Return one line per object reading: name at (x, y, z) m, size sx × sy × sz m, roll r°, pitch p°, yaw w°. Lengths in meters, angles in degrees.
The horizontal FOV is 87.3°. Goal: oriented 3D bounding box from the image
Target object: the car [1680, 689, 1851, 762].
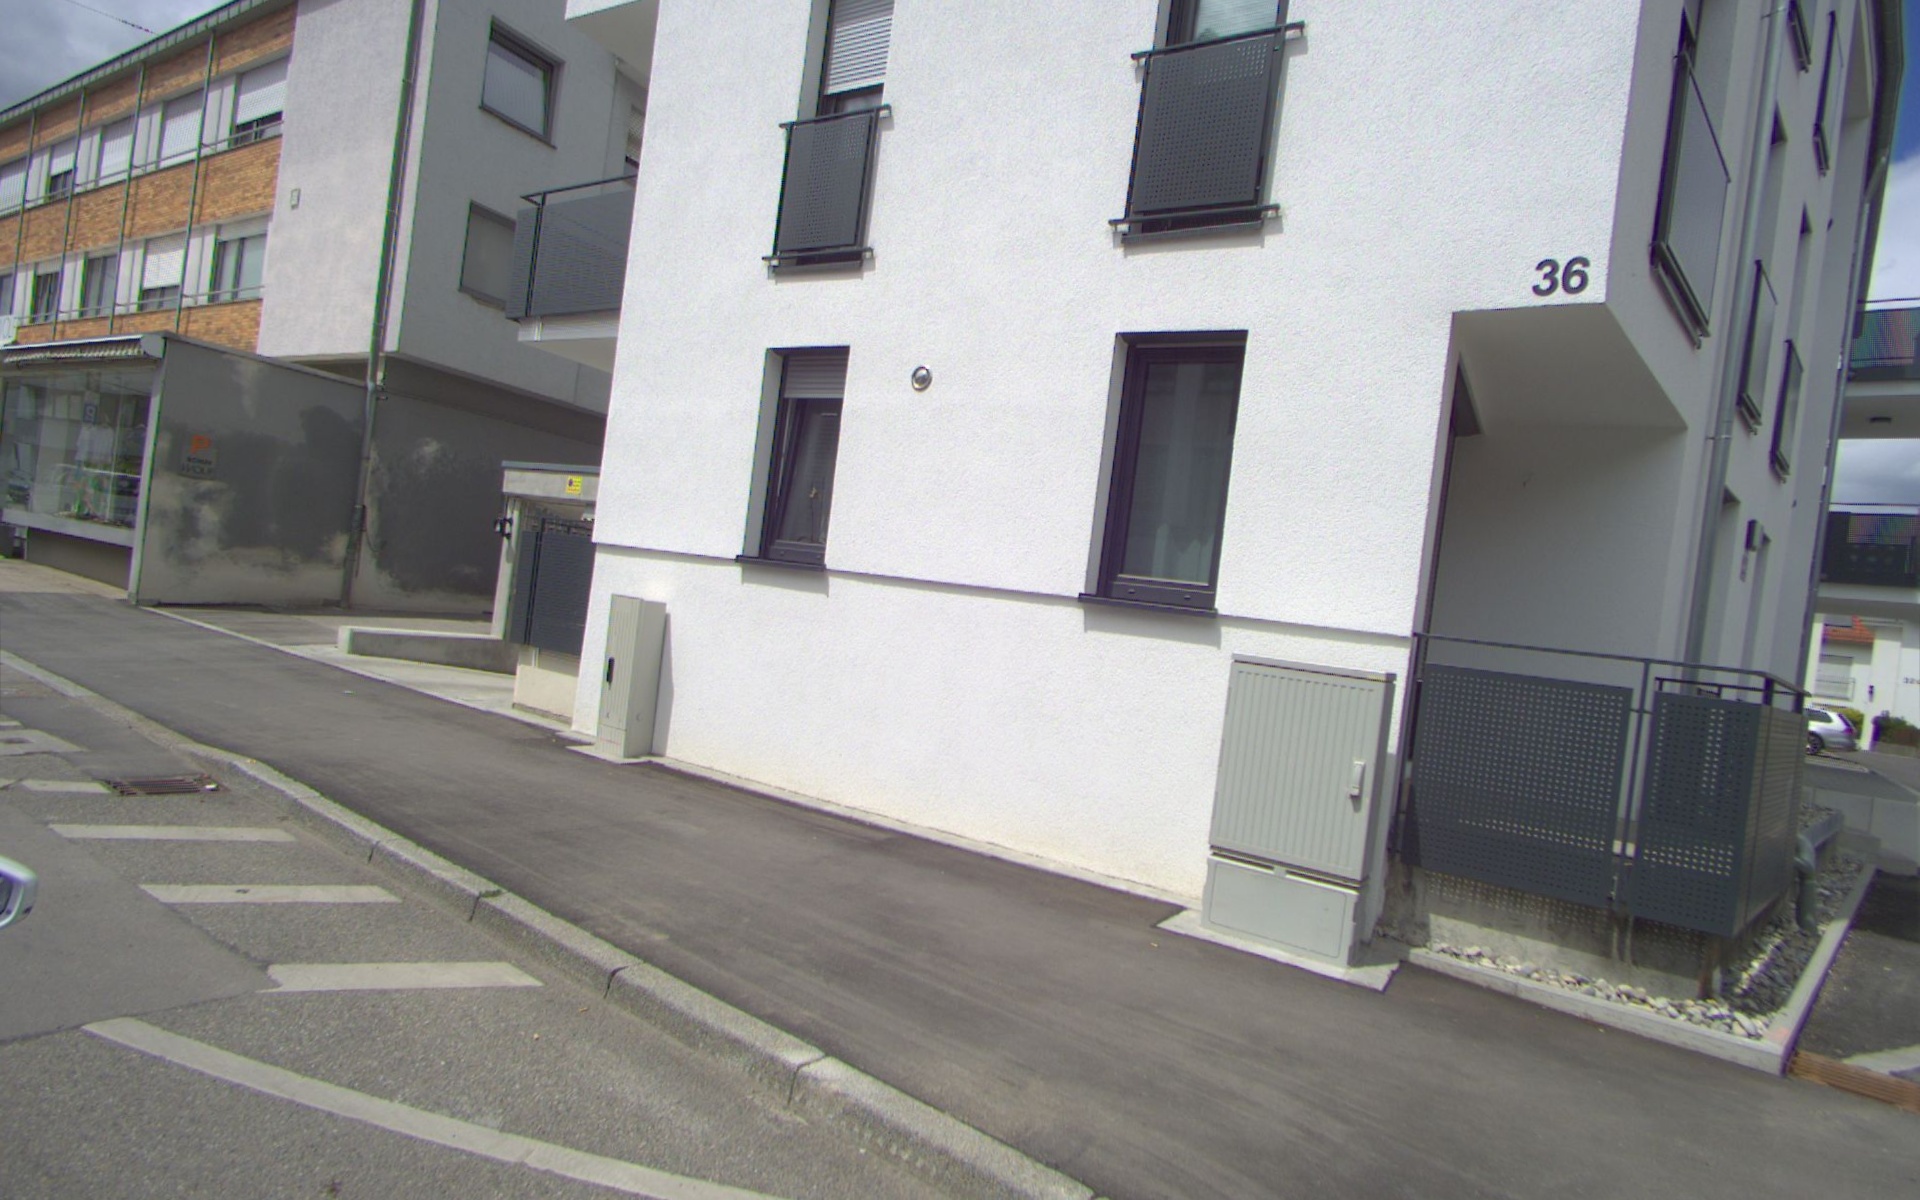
car at (24.854, 3.829, 31.137) m, size 3.880 × 1.523 × 1.690 m, roll 8°, pitch 1°, yaw 42°
